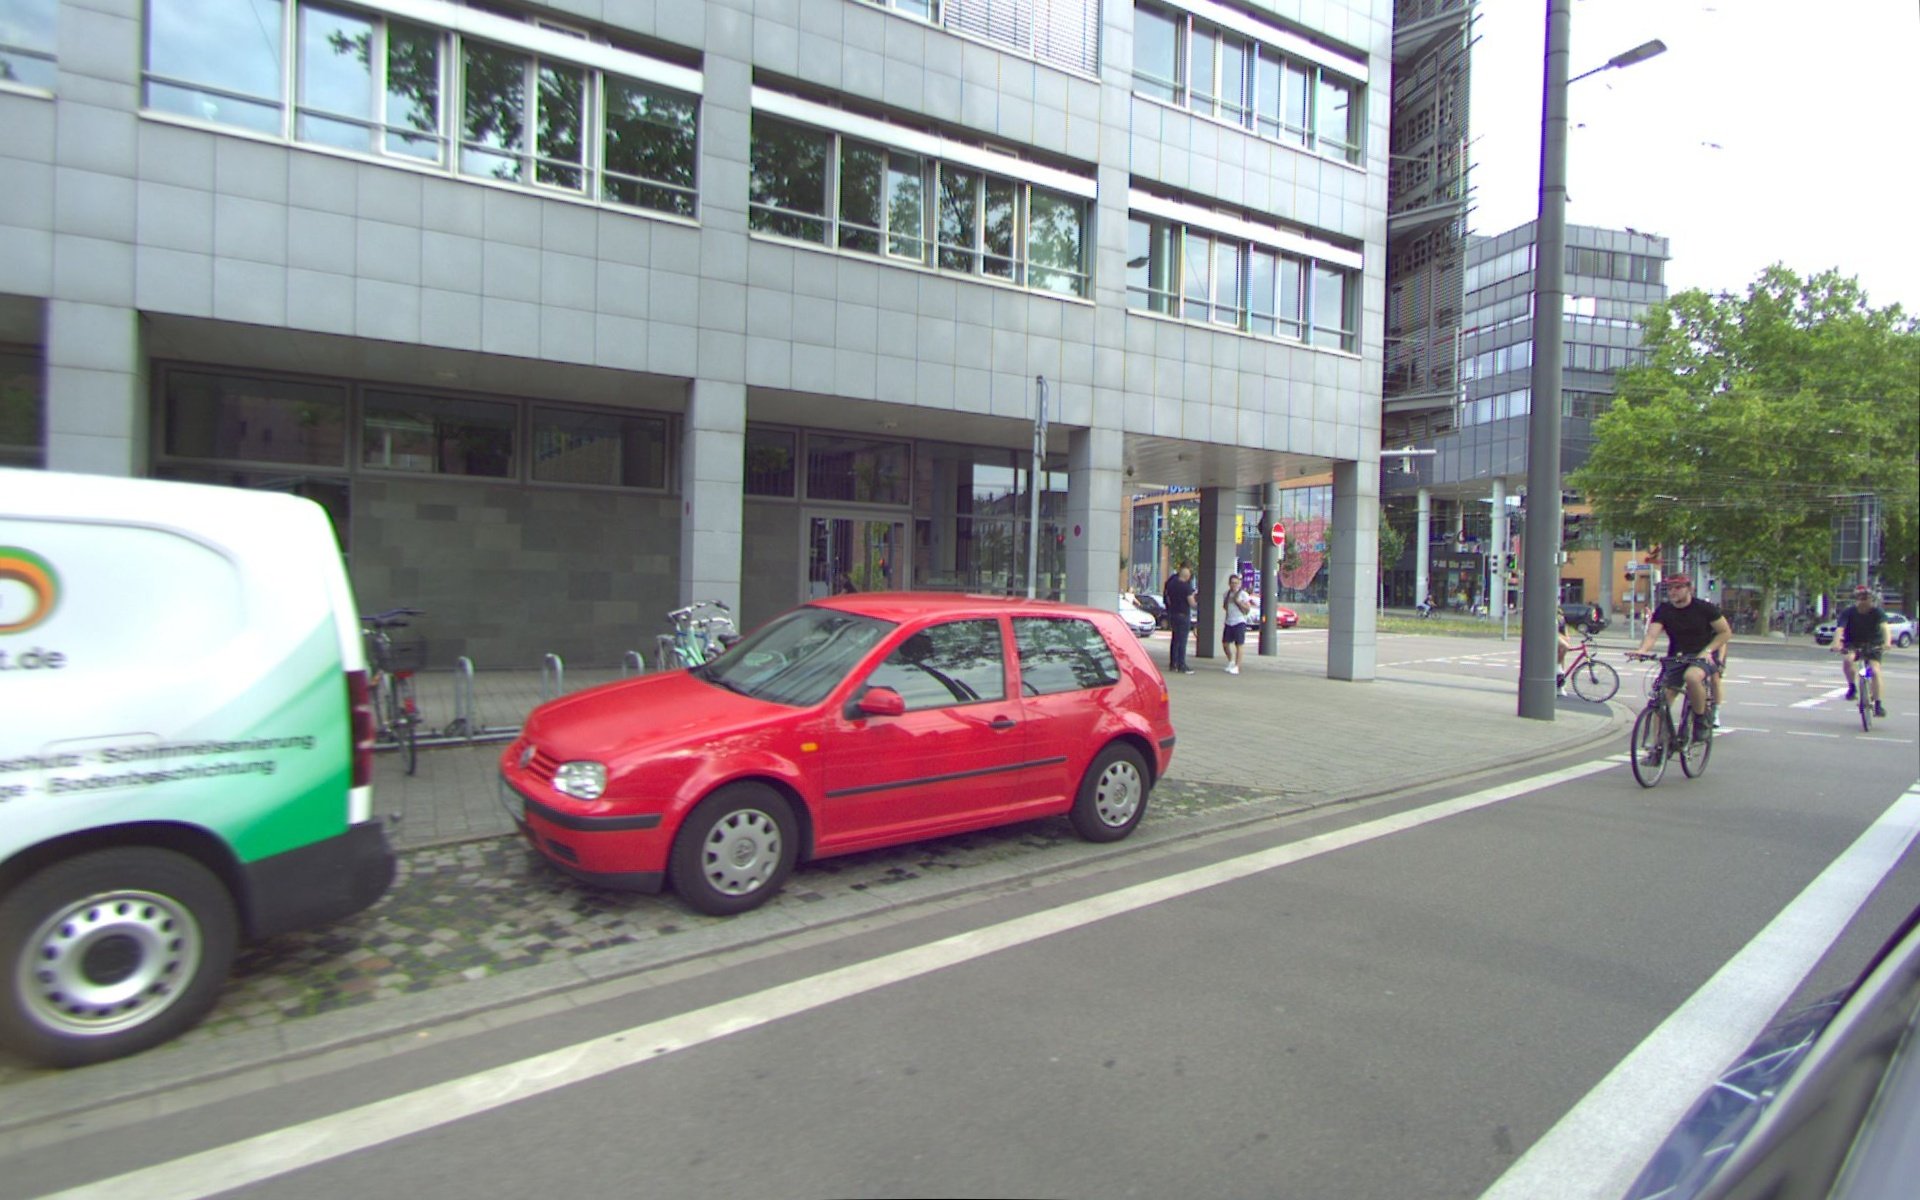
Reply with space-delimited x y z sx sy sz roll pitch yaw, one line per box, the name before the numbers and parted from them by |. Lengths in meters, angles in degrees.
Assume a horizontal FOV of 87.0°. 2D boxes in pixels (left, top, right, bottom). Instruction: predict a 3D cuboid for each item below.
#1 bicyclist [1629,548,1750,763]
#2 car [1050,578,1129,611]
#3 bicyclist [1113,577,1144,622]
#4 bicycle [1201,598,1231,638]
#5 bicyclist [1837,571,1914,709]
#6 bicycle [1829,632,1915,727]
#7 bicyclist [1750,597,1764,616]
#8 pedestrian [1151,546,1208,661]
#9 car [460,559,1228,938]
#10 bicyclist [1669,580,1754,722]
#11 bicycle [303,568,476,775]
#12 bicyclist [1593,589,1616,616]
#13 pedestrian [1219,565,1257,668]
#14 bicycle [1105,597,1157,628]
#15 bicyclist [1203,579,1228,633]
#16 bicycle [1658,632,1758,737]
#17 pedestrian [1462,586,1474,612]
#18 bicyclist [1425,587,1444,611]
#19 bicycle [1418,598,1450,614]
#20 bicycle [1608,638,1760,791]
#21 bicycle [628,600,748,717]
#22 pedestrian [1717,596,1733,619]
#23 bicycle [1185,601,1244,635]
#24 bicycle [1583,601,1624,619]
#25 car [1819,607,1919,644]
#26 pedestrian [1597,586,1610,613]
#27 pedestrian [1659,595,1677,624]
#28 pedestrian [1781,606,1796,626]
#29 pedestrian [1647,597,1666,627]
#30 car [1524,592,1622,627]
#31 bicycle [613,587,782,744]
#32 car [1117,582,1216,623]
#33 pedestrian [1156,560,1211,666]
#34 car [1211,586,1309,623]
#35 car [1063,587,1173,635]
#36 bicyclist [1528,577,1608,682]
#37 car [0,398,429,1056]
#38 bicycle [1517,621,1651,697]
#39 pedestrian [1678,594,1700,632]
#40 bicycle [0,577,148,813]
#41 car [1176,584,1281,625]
bicyclist | 6.482 0.457 8.988 1.016 1.790 0.591 1 1 -40
car | 6.424 -0.317 50.640 1.787 1.479 4.003 -1 2 -32
bicyclist | 6.505 -0.037 39.180 0.730 1.687 0.982 -1 2 -30
bicycle | 8.252 0.556 32.722 0.650 1.152 2.436 0 3 7
bicyclist | 12.399 0.517 13.702 1.016 1.792 0.591 1 1 -40
bicycle | 12.319 1.034 13.657 1.825 1.153 0.595 1 2 -41
bicyclist | 60.127 0.484 76.359 0.723 1.450 0.532 0 1 -30
pedestrian | 4.004 0.064 18.487 0.662 2.039 0.604 4 -1 -34
car | -0.487 0.599 5.991 4.173 1.450 1.729 1 4 -37
bicyclist | 9.354 0.604 12.590 1.016 1.674 0.591 1 1 -40
bicycle | -4.312 0.417 7.530 0.643 1.274 2.638 1 1 -40
bicyclist | 39.696 0.167 62.310 0.625 1.636 0.979 1 1 -33
pedestrian | 4.897 0.284 17.835 0.547 1.748 0.493 3 0 13
bicycle | 6.568 0.474 39.084 0.735 1.069 2.224 -2 3 -30
bicyclist | 8.284 0.181 32.874 0.649 1.695 1.034 0 2 6
bicycle | 9.284 1.010 12.545 1.704 1.153 0.595 1 1 -41
pedestrian | 37.675 -0.076 75.110 0.617 1.889 0.670 2 1 15
bicyclist | 33.056 -0.050 70.571 0.625 1.636 0.979 0 2 -33
bicycle | 33.039 0.391 70.583 0.626 1.023 2.007 0 2 -33
bicycle | 6.486 0.952 9.018 2.054 1.153 0.595 1 2 -41
bicycle | -2.713 0.539 9.997 0.416 0.999 1.559 1 2 -44
pedestrian | 59.270 0.580 78.385 0.730 1.753 0.587 1 1 3
bicycle | 8.977 0.609 35.834 0.670 1.069 2.209 -2 3 -30
bicycle | 39.650 0.600 62.361 0.625 1.023 2.007 1 2 -33
car | 43.822 1.191 48.436 4.541 1.682 1.969 0 0 -17
pedestrian | 46.595 -0.050 73.292 0.504 1.889 0.547 2 1 -13
pedestrian | 42.667 0.570 61.006 0.729 1.753 0.588 0 1 -32
pedestrian | 65.670 1.290 80.186 0.668 1.529 0.589 0 2 -16
pedestrian | 39.407 0.667 57.235 0.729 1.672 0.588 0 1 -32
car | 33.926 0.480 56.106 1.927 1.760 4.181 1 1 -35
bicycle | -2.307 0.506 8.740 1.849 1.153 0.485 4 2 44
car | 8.566 0.063 42.342 1.787 1.551 4.004 0 2 -32
pedestrian | 3.779 0.221 17.114 0.630 1.748 0.548 2 0 -30
car | 13.264 0.151 45.010 1.787 1.450 4.003 -1 2 -32
car | 5.710 0.341 37.005 1.787 1.551 4.003 -1 2 -32
bicyclist | 10.759 0.503 17.941 0.704 1.786 0.918 1 1 -23
car | -4.213 0.304 2.742 4.570 1.887 1.830 1 3 -43
bicycle | 10.850 0.995 17.682 0.711 1.153 1.909 1 1 -23
pedestrian | 35.023 0.623 48.635 0.657 1.814 0.678 0 1 -38
bicycle | -5.434 0.485 6.210 0.470 1.212 1.916 1 1 -32
car | 11.345 0.126 43.028 1.787 1.551 4.224 -1 2 -32
